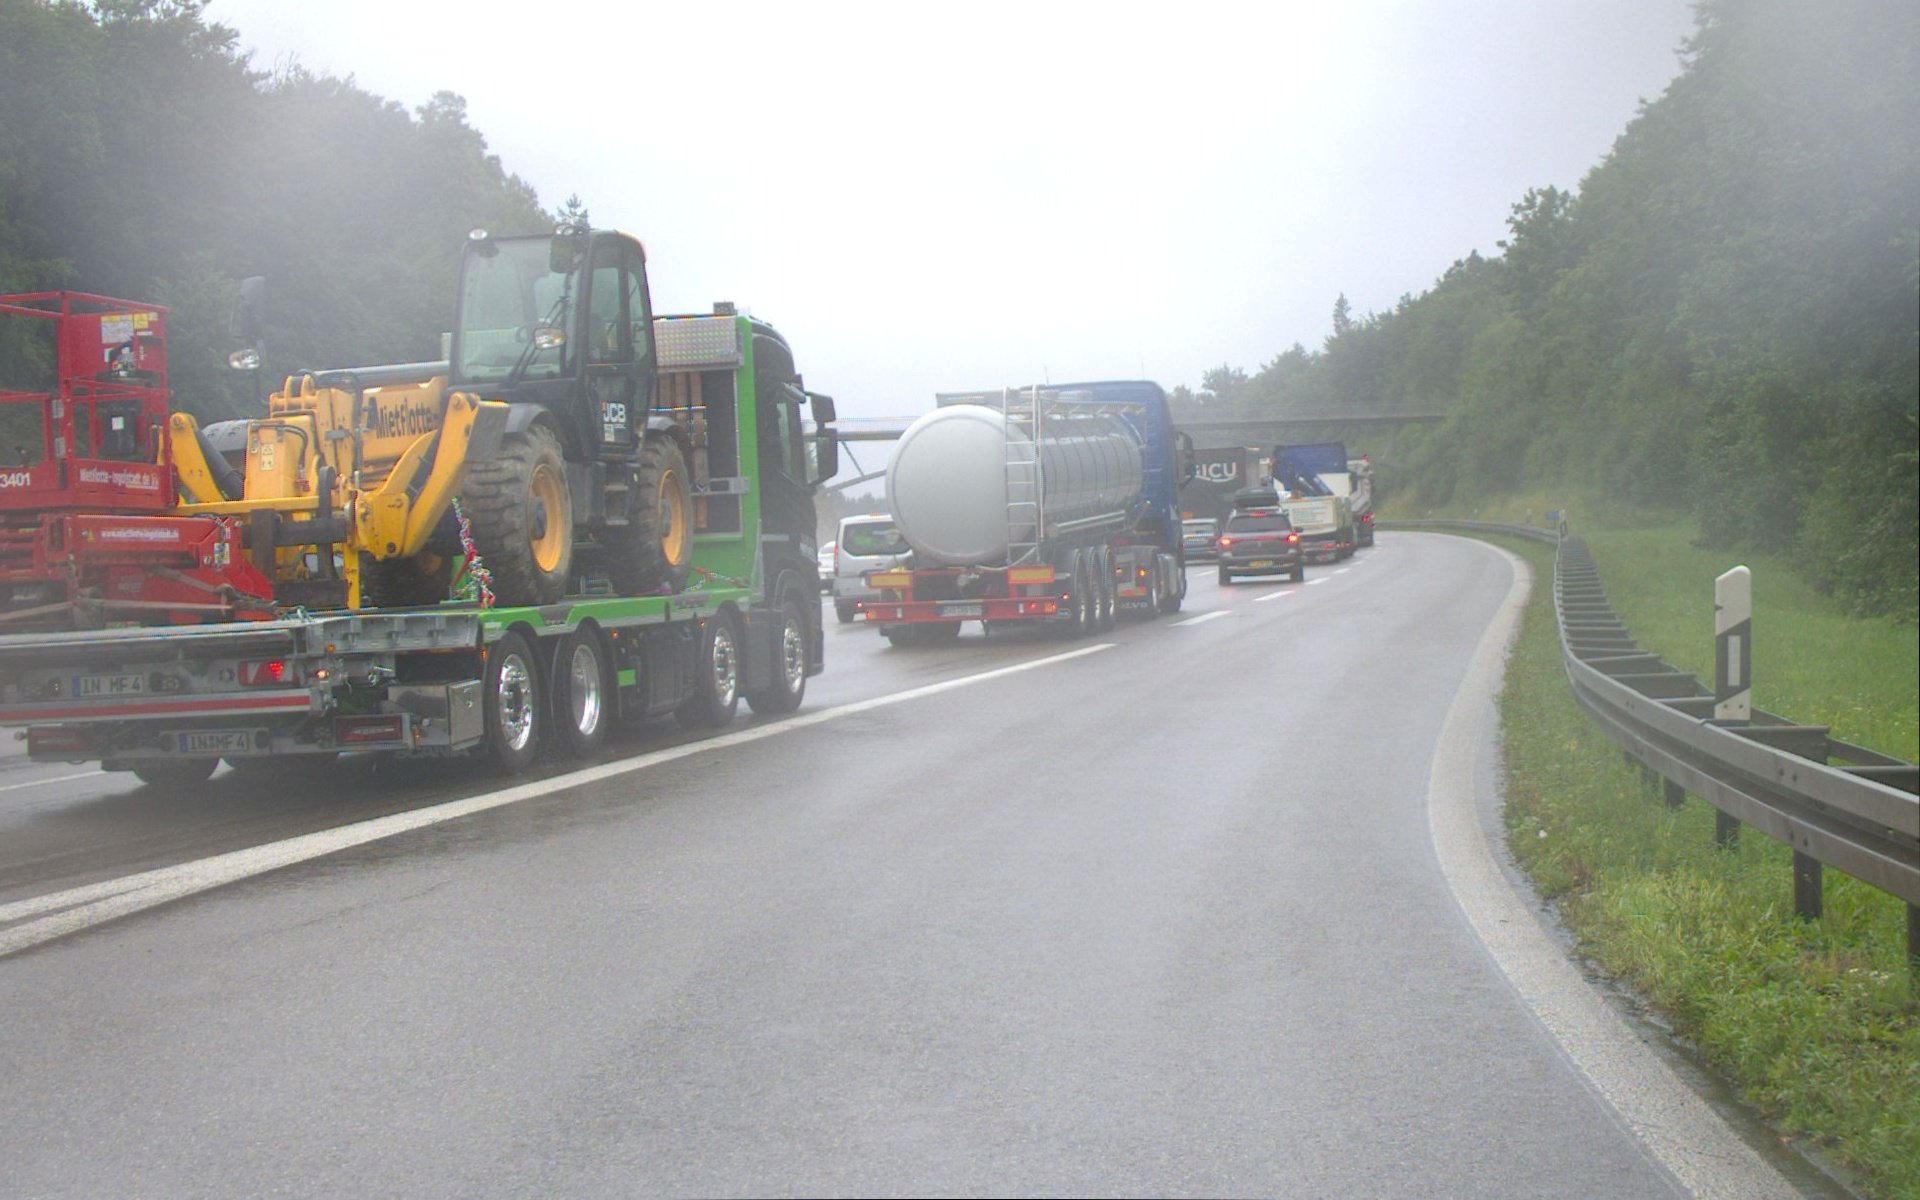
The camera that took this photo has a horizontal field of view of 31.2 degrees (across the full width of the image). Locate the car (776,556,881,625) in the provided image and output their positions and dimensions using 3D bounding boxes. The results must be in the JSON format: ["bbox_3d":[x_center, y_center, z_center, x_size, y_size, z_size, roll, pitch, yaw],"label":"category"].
[{"bbox_3d":[-3.445,-0.269,90.764,1.994,1.766,4.133,-1,1,9],"label":"car"}]

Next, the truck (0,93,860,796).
[{"bbox_3d":[-3.552,-0.889,23.762,2.832,3.576,11.791,-2,1,12],"label":"truck"}]

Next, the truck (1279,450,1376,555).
[{"bbox_3d":[15.416,-4.016,144.617,3.755,3.957,11.057,2,0,6],"label":"truck"}]

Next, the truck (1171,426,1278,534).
[{"bbox_3d":[11.356,-5.044,146.670,3.578,4.081,10.875,-1,0,9],"label":"truck"}]

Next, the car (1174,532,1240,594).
[{"bbox_3d":[7.969,-1.173,110.645,1.798,1.897,3.999,1,0,8],"label":"car"}]

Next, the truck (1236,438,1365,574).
[{"bbox_3d":[11.883,-3.159,119.082,3.509,4.253,10.598,2,0,10],"label":"truck"}]

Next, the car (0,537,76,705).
[{"bbox_3d":[-12.317,0.221,40.984,1.799,2.007,3.998,2,0,12],"label":"car"}]

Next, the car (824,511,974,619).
[{"bbox_3d":[-1.013,-0.612,58.861,1.820,1.761,3.999,-1,1,10],"label":"car"}]

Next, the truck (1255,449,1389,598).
[{"bbox_3d":[10.968,-2.299,103.108,3.601,4.091,11.557,-2,1,7],"label":"truck"}]

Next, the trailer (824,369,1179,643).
[{"bbox_3d":[0.810,-1.278,47.141,2.875,3.277,10.073,-2,1,12],"label":"trailer"}]

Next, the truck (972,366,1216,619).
[{"bbox_3d":[2.164,-1.658,53.690,2.878,3.681,5.054,-2,1,12],"label":"truck"}]

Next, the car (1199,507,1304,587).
[{"bbox_3d":[6.465,-1.151,75.893,1.994,1.630,3.998,2,0,9],"label":"car"}]

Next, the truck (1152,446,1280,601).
[{"bbox_3d":[9.759,-2.774,129.893,3.756,5.480,10.168,2,0,9],"label":"truck"}]

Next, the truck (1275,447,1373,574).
[{"bbox_3d":[17.628,-4.233,165.948,4.337,5.744,9.728,2,0,7],"label":"truck"}]
